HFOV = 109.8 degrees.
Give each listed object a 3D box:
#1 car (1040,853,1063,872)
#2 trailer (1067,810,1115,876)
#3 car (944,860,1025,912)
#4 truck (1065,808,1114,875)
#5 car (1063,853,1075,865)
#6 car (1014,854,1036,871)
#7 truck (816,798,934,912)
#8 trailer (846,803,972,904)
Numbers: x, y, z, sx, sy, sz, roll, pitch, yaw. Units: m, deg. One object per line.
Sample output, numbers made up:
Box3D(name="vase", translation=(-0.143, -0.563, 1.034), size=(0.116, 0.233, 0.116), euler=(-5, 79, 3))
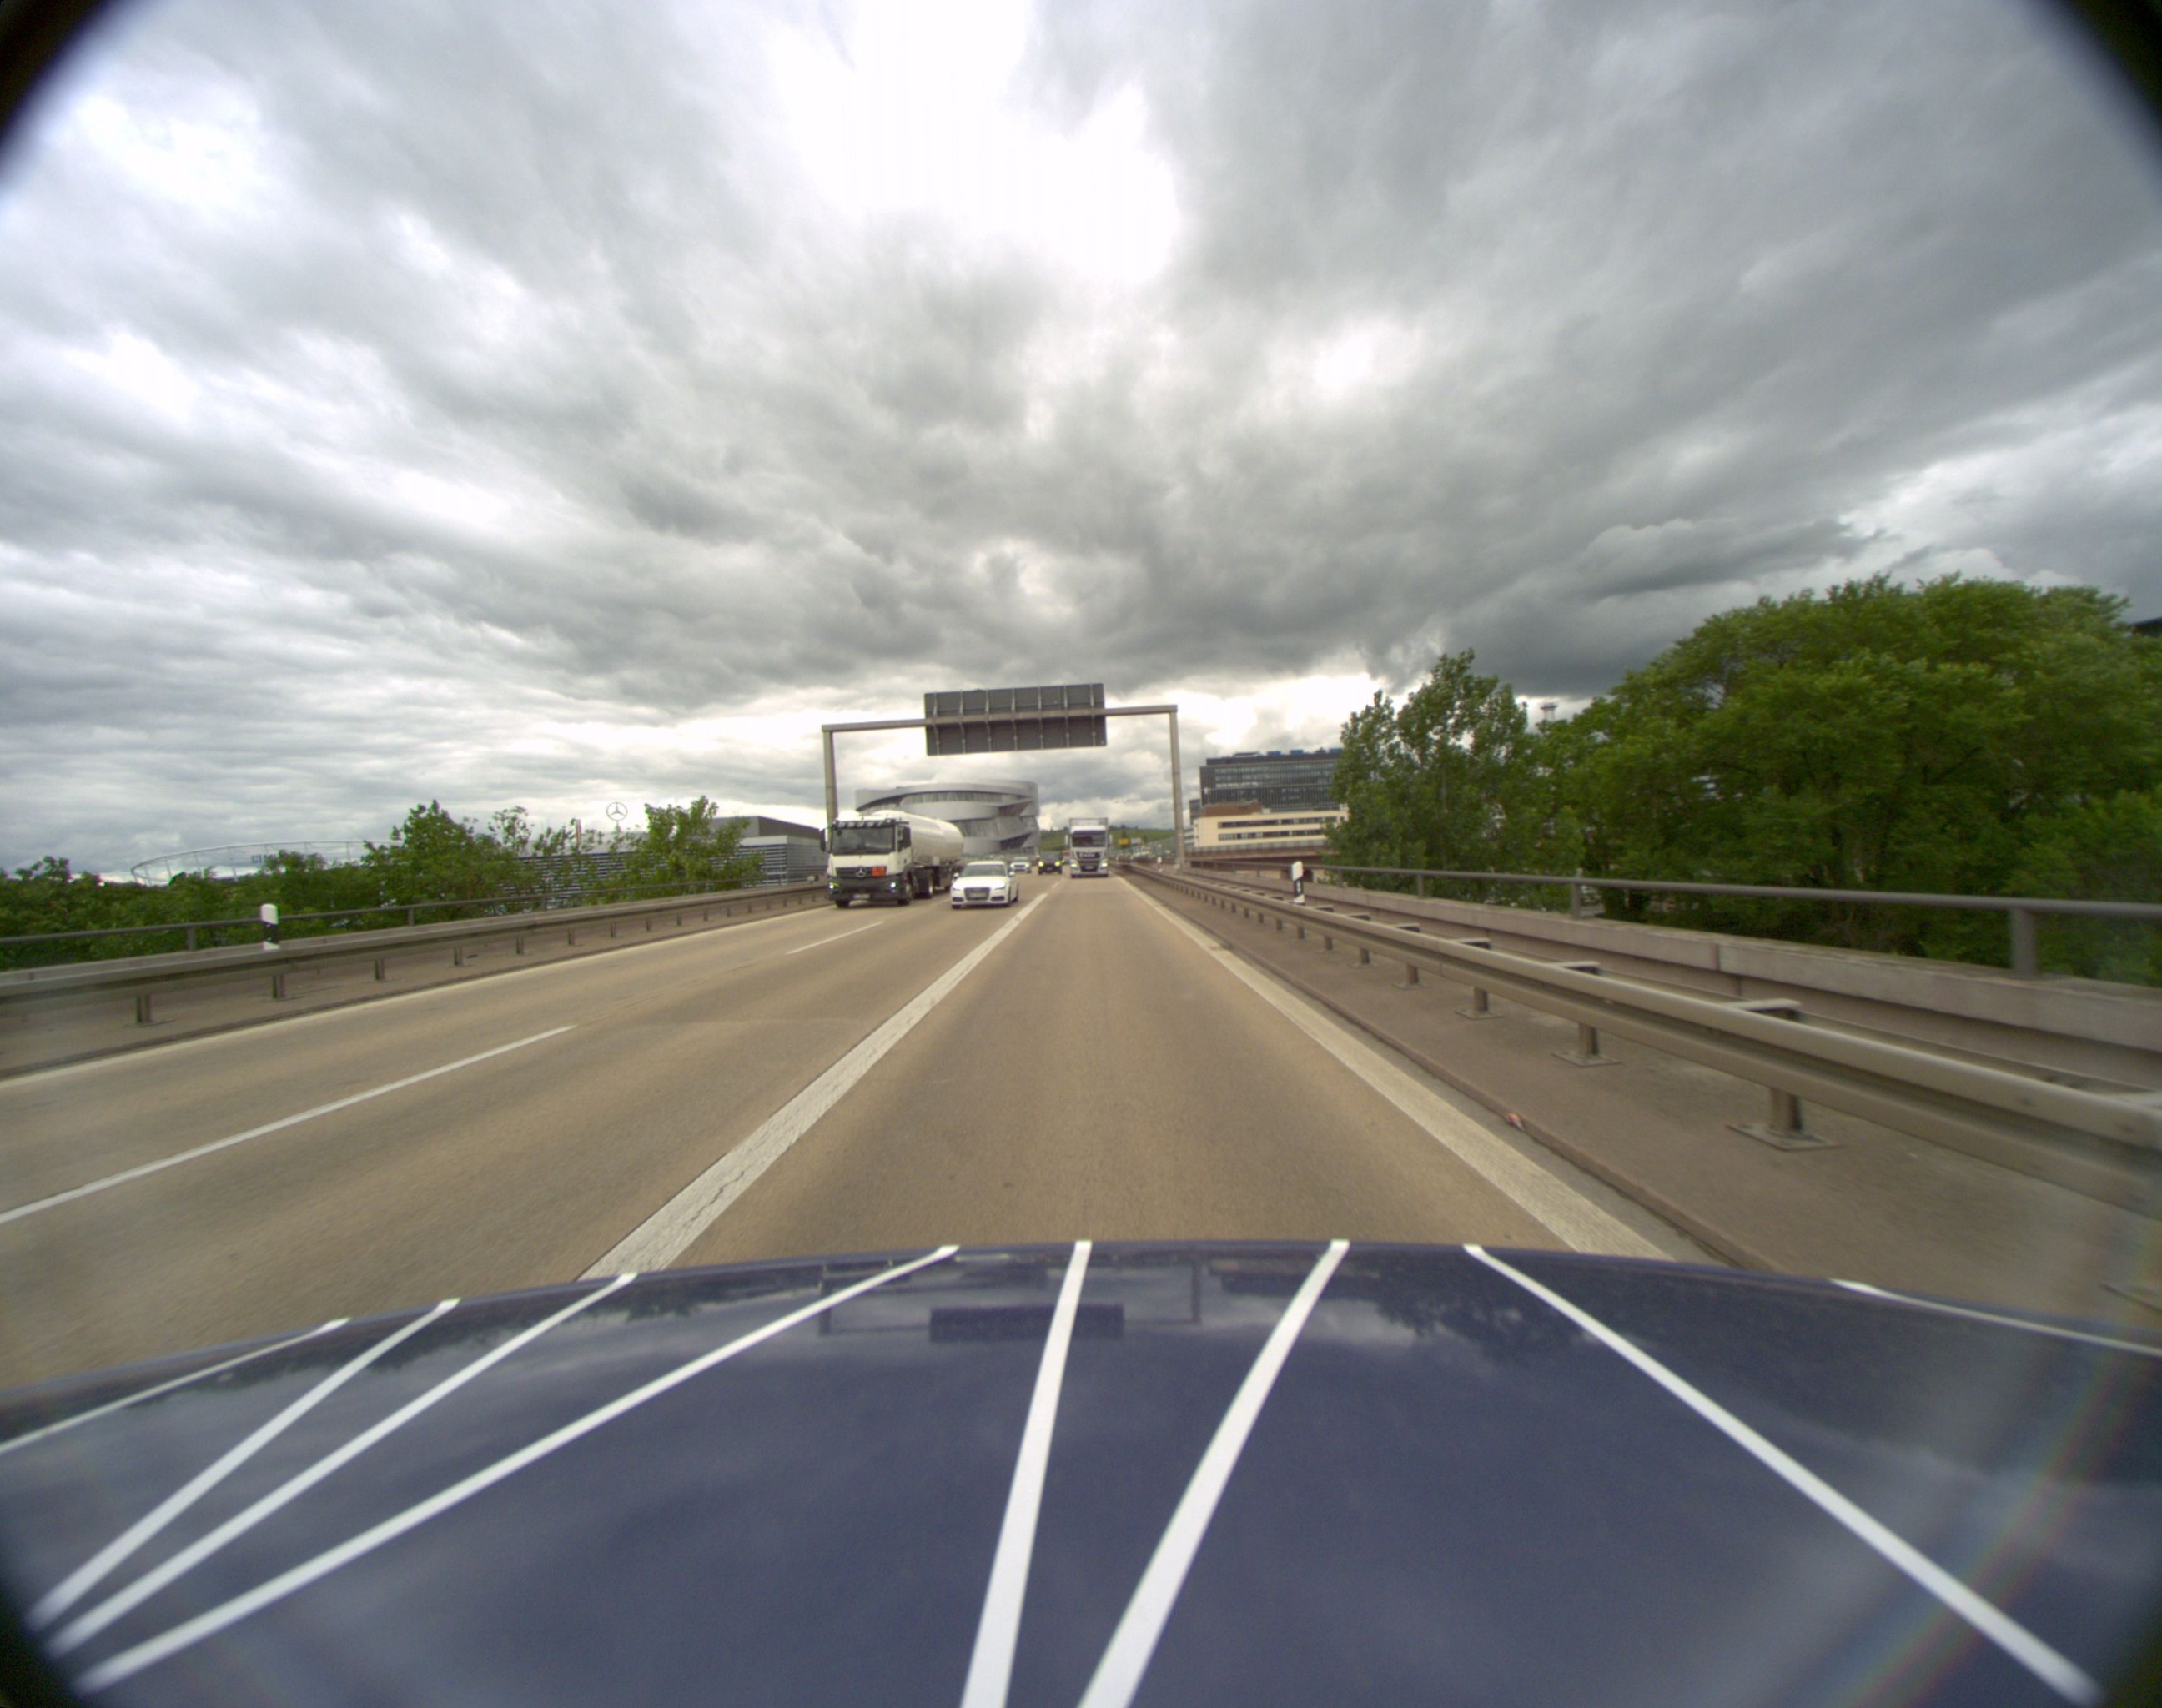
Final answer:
Box3D(name="car", translation=(-2.572, 0.719, 66.888), size=(1.765, 1.624, 3.627), euler=(-2, 1, 1))
Box3D(name="trailer", translation=(0.715, -0.726, 53.406), size=(2.880, 4.104, 11.220), euler=(-2, 0, 1))
Box3D(name="car", translation=(-2.970, 0.949, 24.251), size=(1.848, 1.443, 3.933), euler=(-2, 0, 3))
Box3D(name="truck", translation=(0.604, -0.802, 50.686), size=(2.946, 4.136, 6.291), euler=(-2, 0, 1))
Box3D(name="car", translation=(-2.226, 0.885, 137.965), size=(1.998, 2.002, 4.000), euler=(-2, 1, 1))
Box3D(name="car", translation=(-5.597, 0.828, 76.303), size=(1.785, 1.624, 3.627), euler=(-2, 1, 1))
Box3D(name="truck", translation=(-6.993, 0.079, 26.485), size=(2.637, 3.493, 4.905), euler=(-2, -1, 1))
Box3D(name="trailer", translation=(-6.926, -0.077, 32.696), size=(2.657, 3.523, 11.219), euler=(-2, 1, 1))
